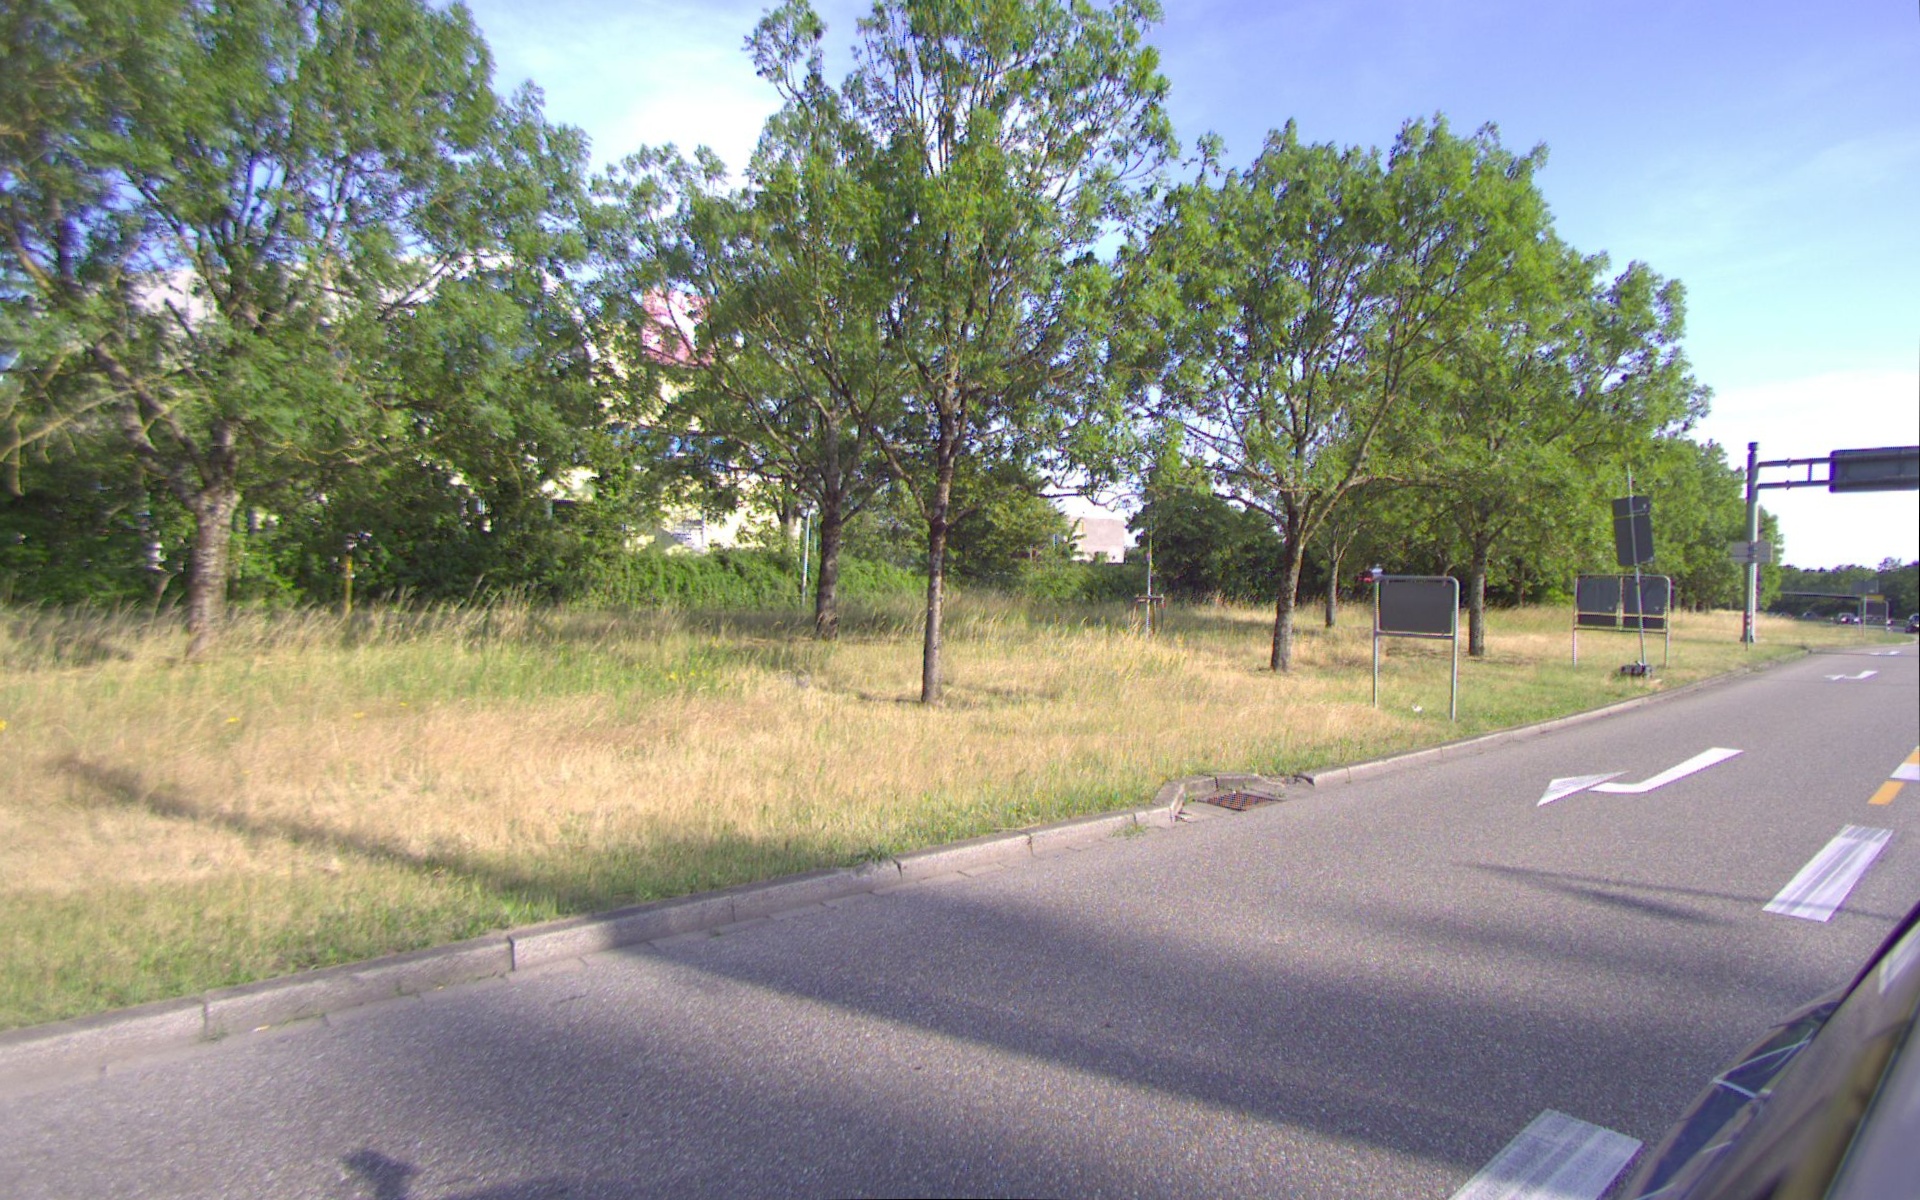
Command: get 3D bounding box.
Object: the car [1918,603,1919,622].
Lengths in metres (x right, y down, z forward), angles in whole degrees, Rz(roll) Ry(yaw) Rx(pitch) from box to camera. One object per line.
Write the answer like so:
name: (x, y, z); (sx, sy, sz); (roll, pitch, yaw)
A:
car: (70.676, 0.923, 73.048); (1.893, 1.403, 4.293); (0, 0, 39)

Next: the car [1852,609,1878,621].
car: (116.340, 1.915, 130.171); (1.883, 1.474, 3.863); (2, 2, 33)

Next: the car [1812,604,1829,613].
car: (160.985, 1.613, 189.371); (1.720, 1.632, 3.490); (0, 0, 27)
